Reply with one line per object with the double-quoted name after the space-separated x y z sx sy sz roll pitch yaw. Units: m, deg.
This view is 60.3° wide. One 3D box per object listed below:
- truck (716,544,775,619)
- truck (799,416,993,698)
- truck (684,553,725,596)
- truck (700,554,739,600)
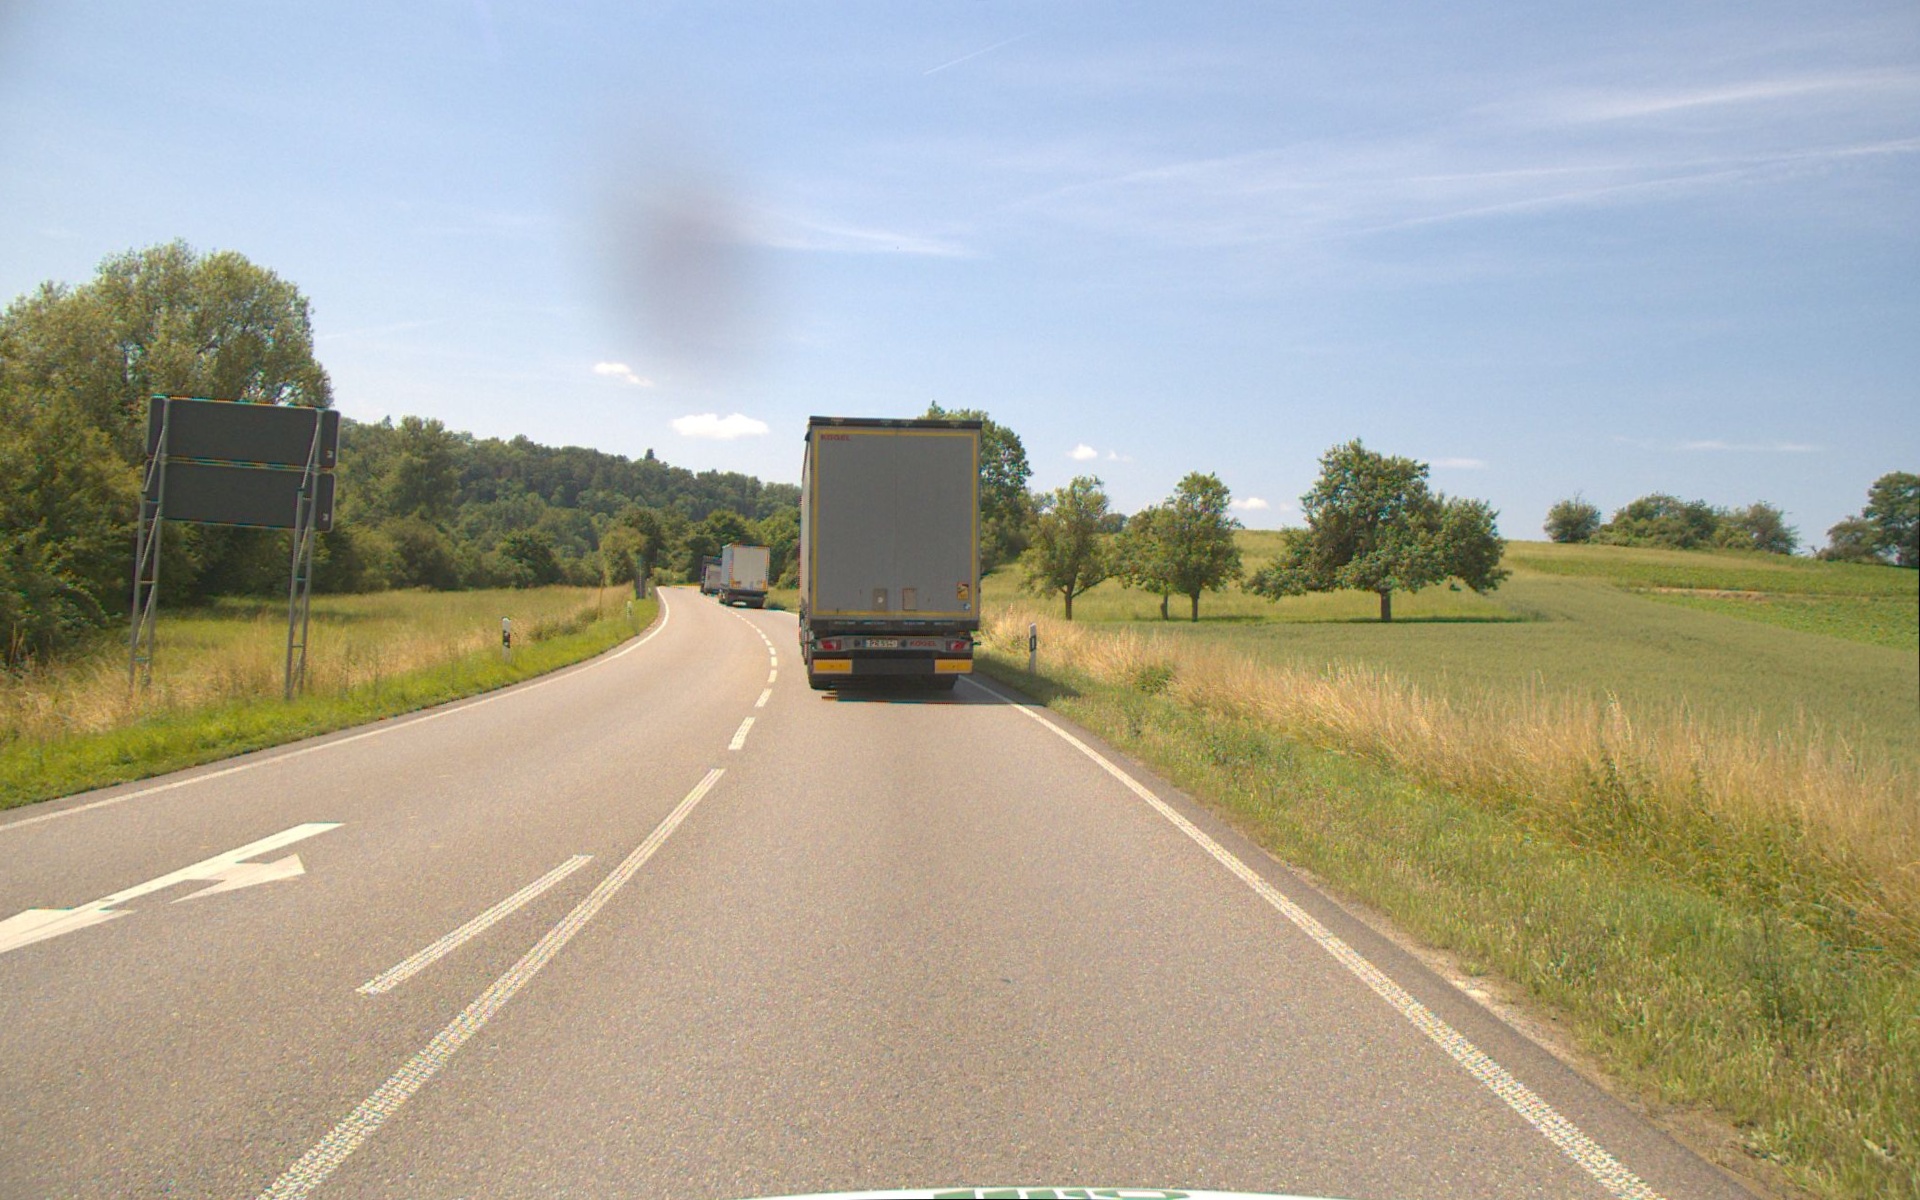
-14.947 -1.327 113.945 2.908 4.663 16.274 3 1 -11 "truck"
-1.379 -0.647 28.480 2.754 4.015 9.579 0 0 -6 "truck"
-29.611 -2.897 190.986 3.469 4.315 13.359 4 -2 -13 "truck"
-25.176 -2.320 172.445 3.571 4.201 13.067 3 -2 -9 "truck"
